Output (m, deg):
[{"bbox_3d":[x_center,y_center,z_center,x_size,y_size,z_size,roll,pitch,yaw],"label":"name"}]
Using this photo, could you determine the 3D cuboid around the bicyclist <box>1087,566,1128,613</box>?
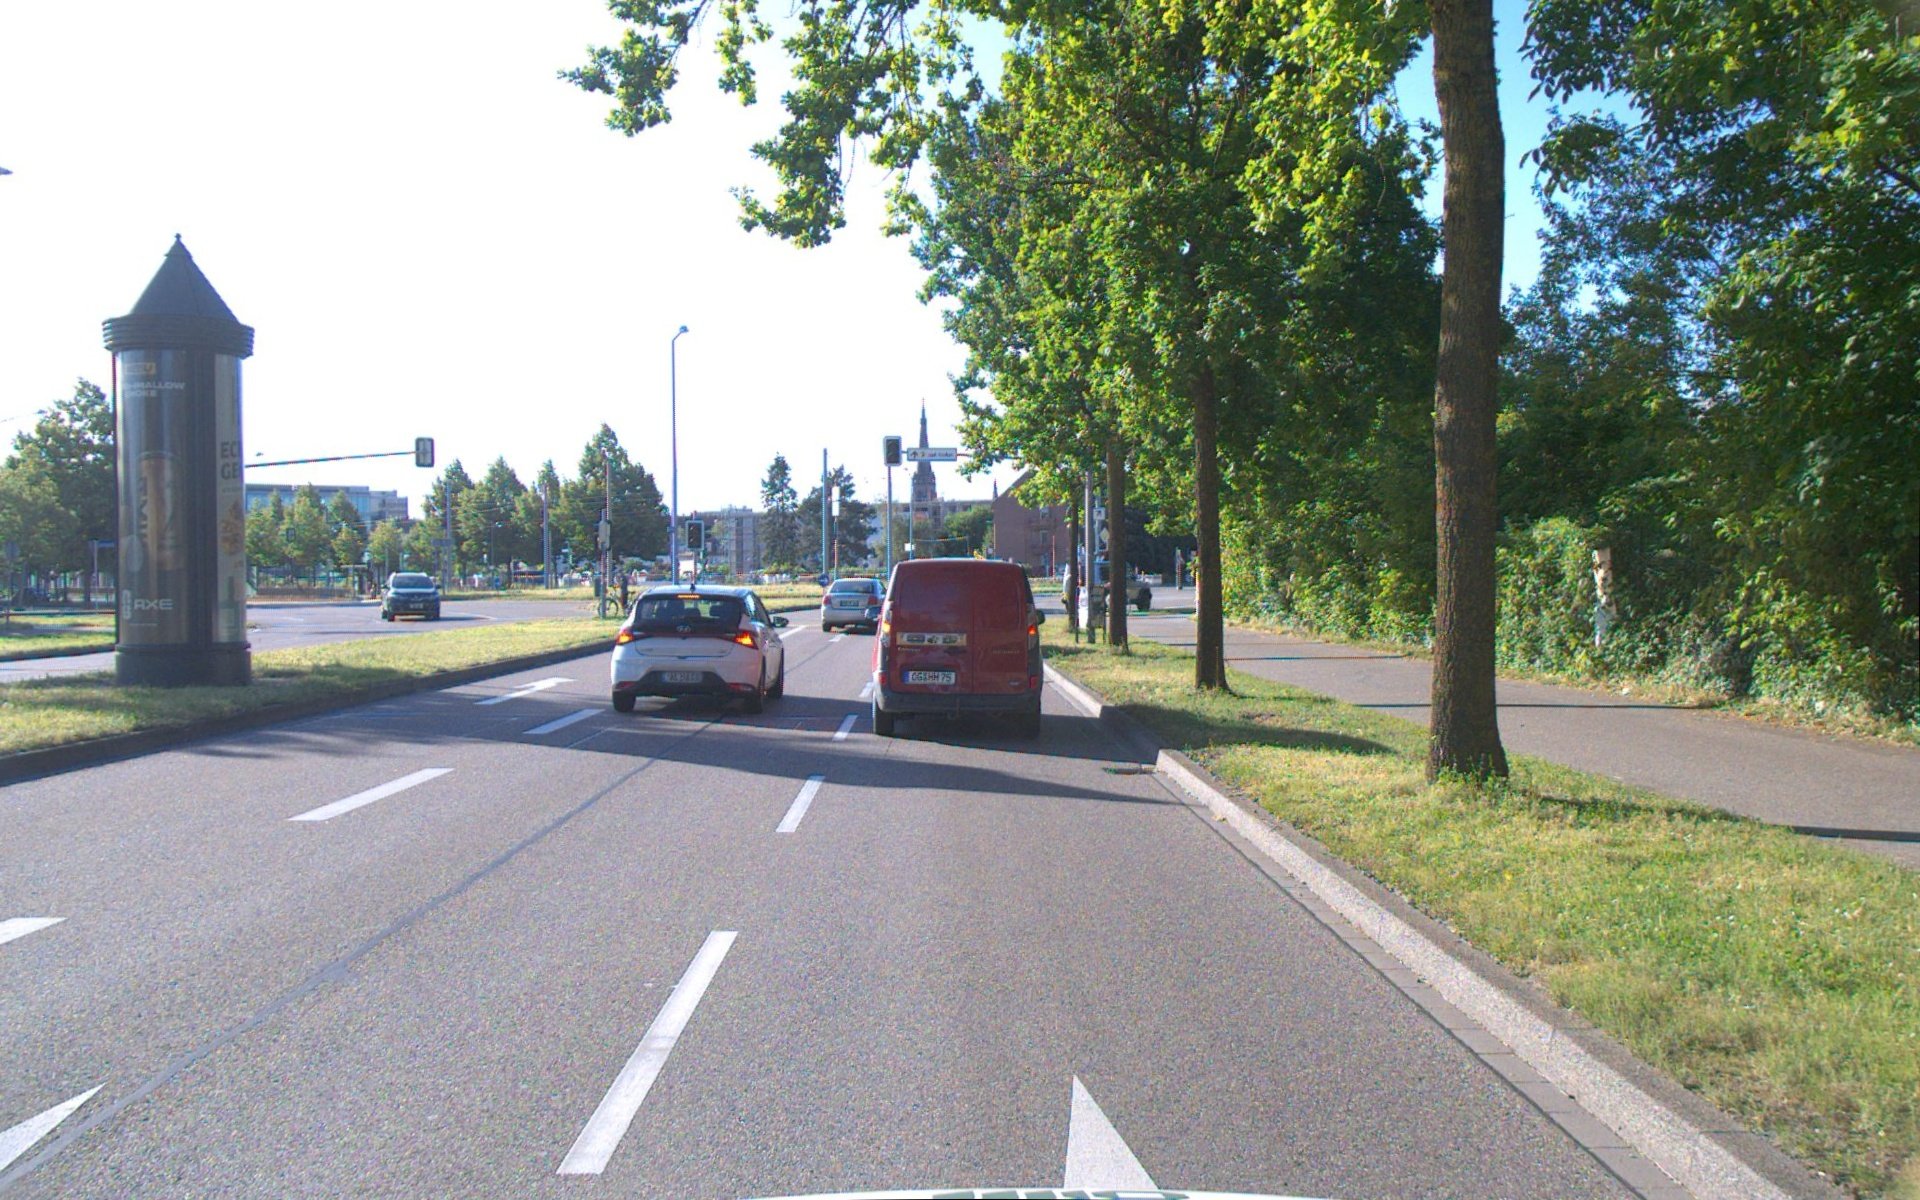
[{"bbox_3d":[5.100,-0.355,57.178,1.070,1.589,0.870,-2,0,-24],"label":"bicyclist"}]

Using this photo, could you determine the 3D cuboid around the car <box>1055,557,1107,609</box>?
[{"bbox_3d":[4.722,-0.651,64.974,1.955,1.930,4.755,0,0,3],"label":"car"}]

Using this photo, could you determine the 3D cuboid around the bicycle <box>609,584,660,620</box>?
[{"bbox_3d":[-10.686,0.065,54.325,1.620,1.148,0.703,0,0,-11],"label":"bicycle"}]

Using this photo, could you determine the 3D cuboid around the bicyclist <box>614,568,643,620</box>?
[{"bbox_3d":[-10.878,-0.208,54.280,0.923,1.692,0.703,0,0,-10],"label":"bicyclist"}]

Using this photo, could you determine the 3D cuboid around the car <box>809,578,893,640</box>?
[{"bbox_3d":[-3.037,0.205,46.942,1.952,1.602,4.409,-1,1,2],"label":"car"}]

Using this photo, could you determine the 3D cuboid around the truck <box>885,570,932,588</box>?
[{"bbox_3d":[-6.086,-2.477,193.854,2.150,2.049,6.345,1,0,-39],"label":"truck"}]

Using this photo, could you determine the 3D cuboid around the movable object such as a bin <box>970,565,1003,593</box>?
[{"bbox_3d":[2.813,-2.207,176.301,2.380,2.822,3.982,1,0,-16],"label":"movable object such as a bin"}]

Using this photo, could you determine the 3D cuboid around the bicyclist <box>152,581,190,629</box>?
[{"bbox_3d":[-25.734,0.161,53.969,0.903,1.543,0.618,-1,1,5],"label":"bicyclist"}]

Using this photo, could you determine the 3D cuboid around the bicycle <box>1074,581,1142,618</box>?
[{"bbox_3d":[5.129,-0.020,57.192,2.181,1.175,0.870,-2,0,-24],"label":"bicycle"}]

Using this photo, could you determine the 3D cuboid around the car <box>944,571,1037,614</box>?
[{"bbox_3d":[1.282,-0.332,67.448,1.956,1.667,4.401,0,1,29],"label":"car"}]

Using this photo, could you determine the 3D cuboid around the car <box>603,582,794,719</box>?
[{"bbox_3d":[-3.097,0.540,20.304,1.766,1.487,3.809,1,1,-1],"label":"car"}]

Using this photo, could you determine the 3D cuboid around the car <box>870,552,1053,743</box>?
[{"bbox_3d":[0.025,0.444,18.107,1.765,1.845,3.810,1,1,0],"label":"car"}]

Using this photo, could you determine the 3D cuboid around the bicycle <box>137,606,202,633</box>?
[{"bbox_3d":[-25.779,0.634,53.976,1.843,0.867,0.618,-1,1,5],"label":"bicycle"}]

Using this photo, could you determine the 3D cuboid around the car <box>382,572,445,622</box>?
[{"bbox_3d":[-20.593,-0.111,62.222,1.966,1.769,4.707,-1,0,-22],"label":"car"}]
